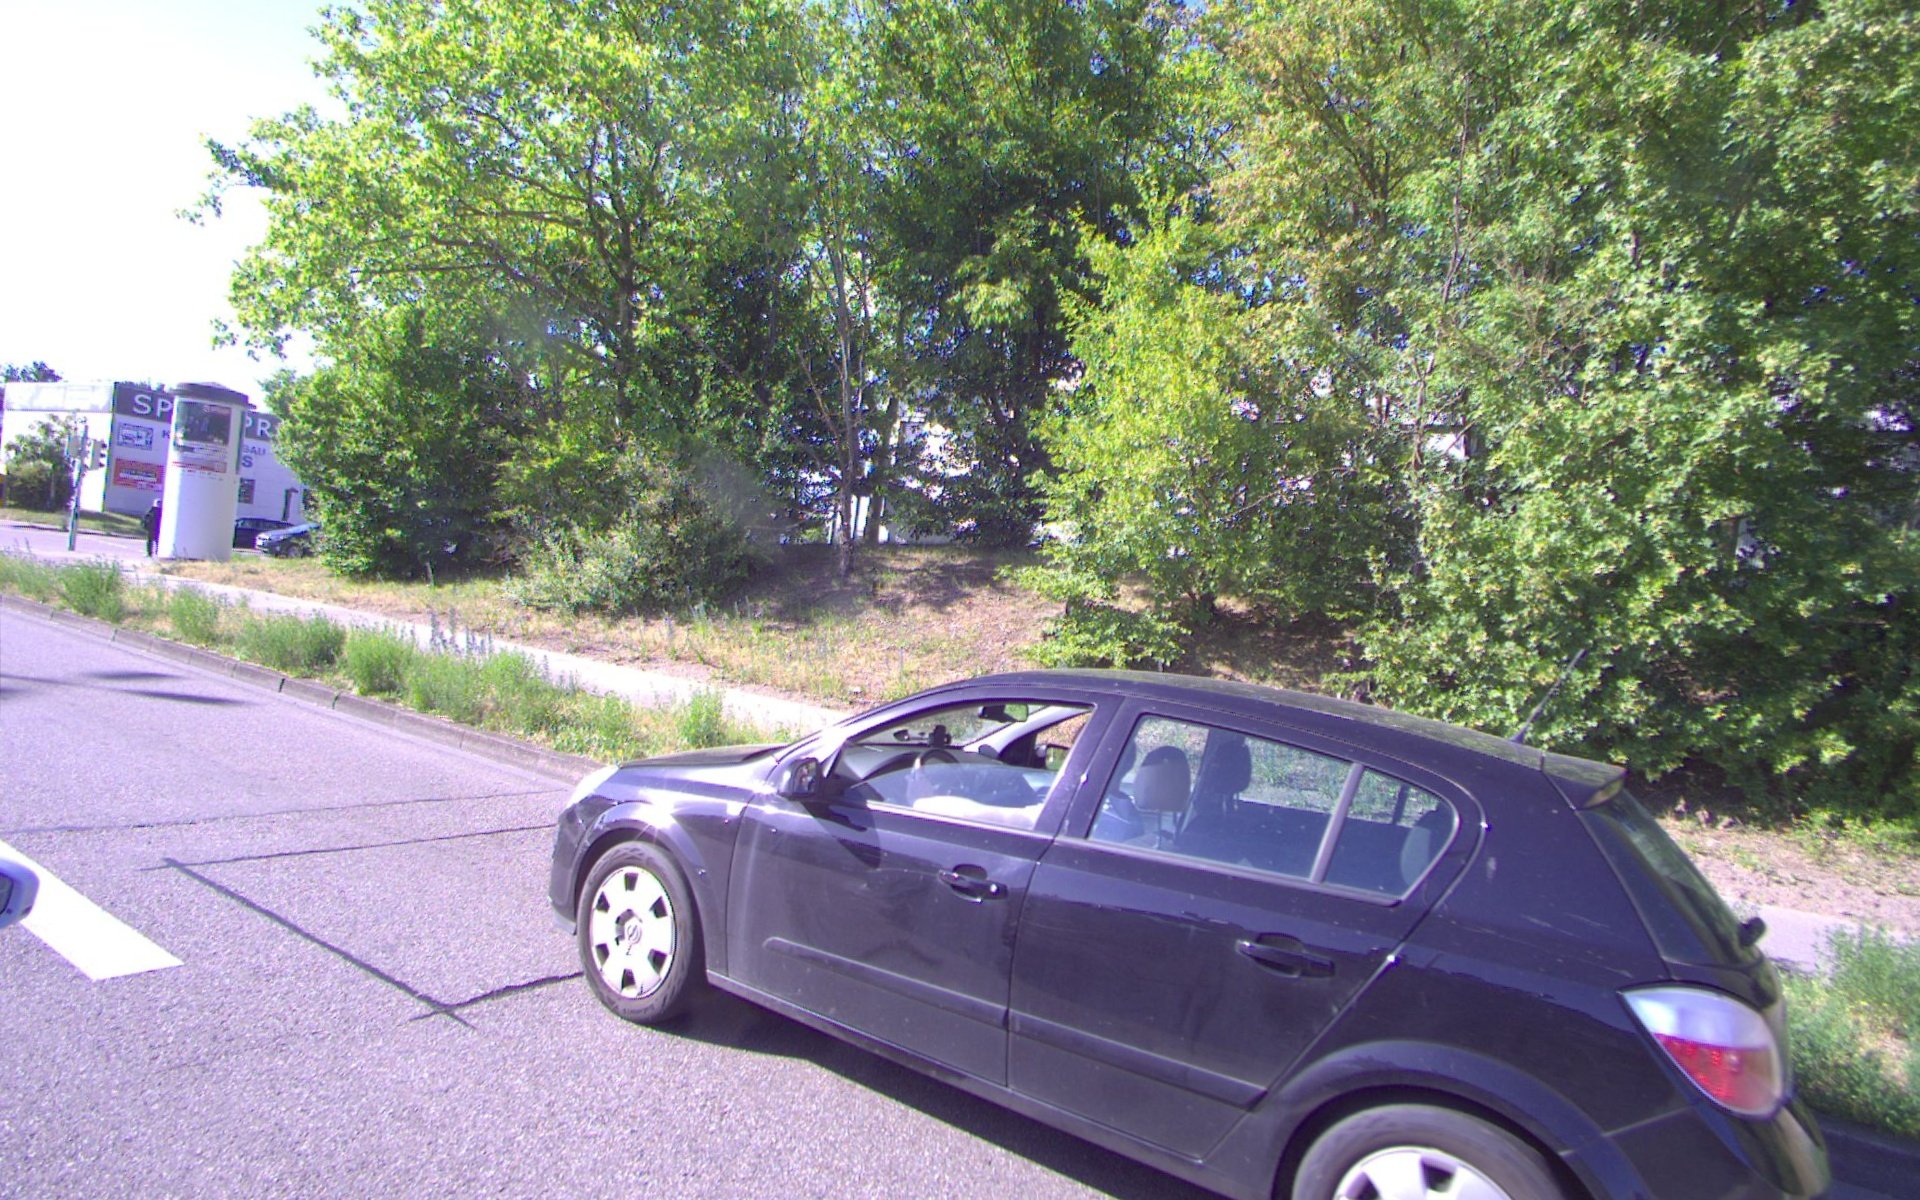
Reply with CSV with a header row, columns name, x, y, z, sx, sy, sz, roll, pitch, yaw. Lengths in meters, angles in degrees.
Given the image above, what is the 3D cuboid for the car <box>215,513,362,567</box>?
name,x,y,z,sx,sy,sz,roll,pitch,yaw
car,-28.387,-2.506,42.692,1.729,1.484,4.830,6,-2,30

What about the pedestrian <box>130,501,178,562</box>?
name,x,y,z,sx,sy,sz,roll,pitch,yaw
pedestrian,-23.910,-2.028,29.840,0.506,1.688,0.818,6,-1,31

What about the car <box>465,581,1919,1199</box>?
name,x,y,z,sx,sy,sz,roll,pitch,yaw
car,0.463,0.950,3.449,4.299,1.458,1.737,7,-2,32

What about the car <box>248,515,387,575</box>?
name,x,y,z,sx,sy,sz,roll,pitch,yaw
car,-25.651,-2.172,40.327,1.611,1.668,4.316,6,-2,31
